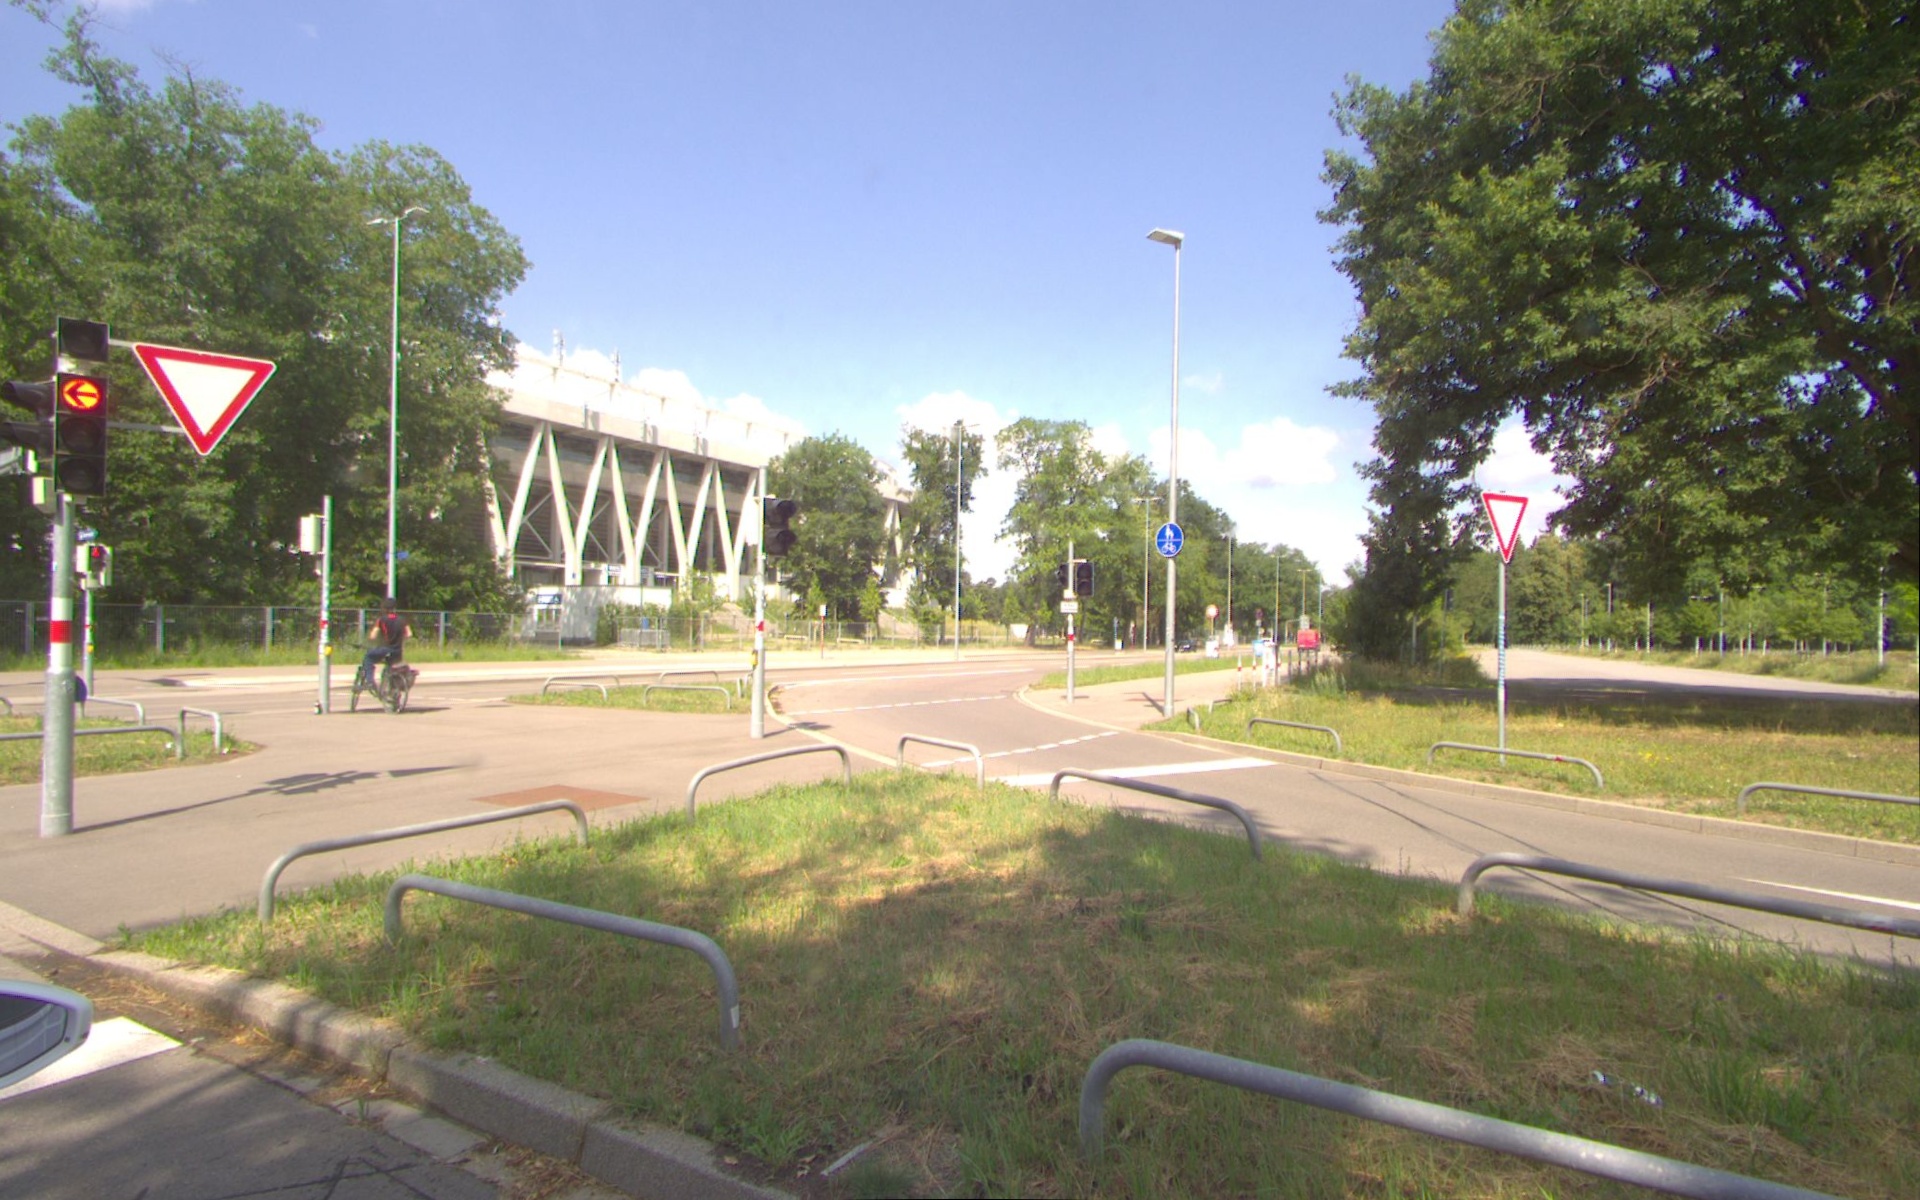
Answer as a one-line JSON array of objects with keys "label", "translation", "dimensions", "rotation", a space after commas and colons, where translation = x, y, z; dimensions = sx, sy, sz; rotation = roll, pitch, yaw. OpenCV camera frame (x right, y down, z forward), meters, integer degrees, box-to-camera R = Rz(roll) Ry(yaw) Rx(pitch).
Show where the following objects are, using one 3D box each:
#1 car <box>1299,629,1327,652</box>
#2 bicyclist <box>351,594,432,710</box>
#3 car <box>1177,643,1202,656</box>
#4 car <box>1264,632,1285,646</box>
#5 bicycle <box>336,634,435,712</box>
[{"label": "car", "translation": [37.504, 4.275, 106.460], "dimensions": [2.031, 2.440, 3.982], "rotation": [-1, -2, 31]}, {"label": "bicyclist", "translation": [-9.325, 0.846, 16.425], "dimensions": [0.967, 1.820, 0.881], "rotation": [-1, -2, 40]}, {"label": "car", "translation": [25.429, 5.435, 110.875], "dimensions": [1.580, 1.395, 3.956], "rotation": [-1, -2, 32]}, {"label": "car", "translation": [34.005, 4.223, 108.157], "dimensions": [1.334, 1.544, 3.460], "rotation": [-1, -2, 31]}, {"label": "bicycle", "translation": [-9.533, 1.173, 16.593], "dimensions": [1.876, 1.221, 0.876], "rotation": [-2, -2, 42]}]
